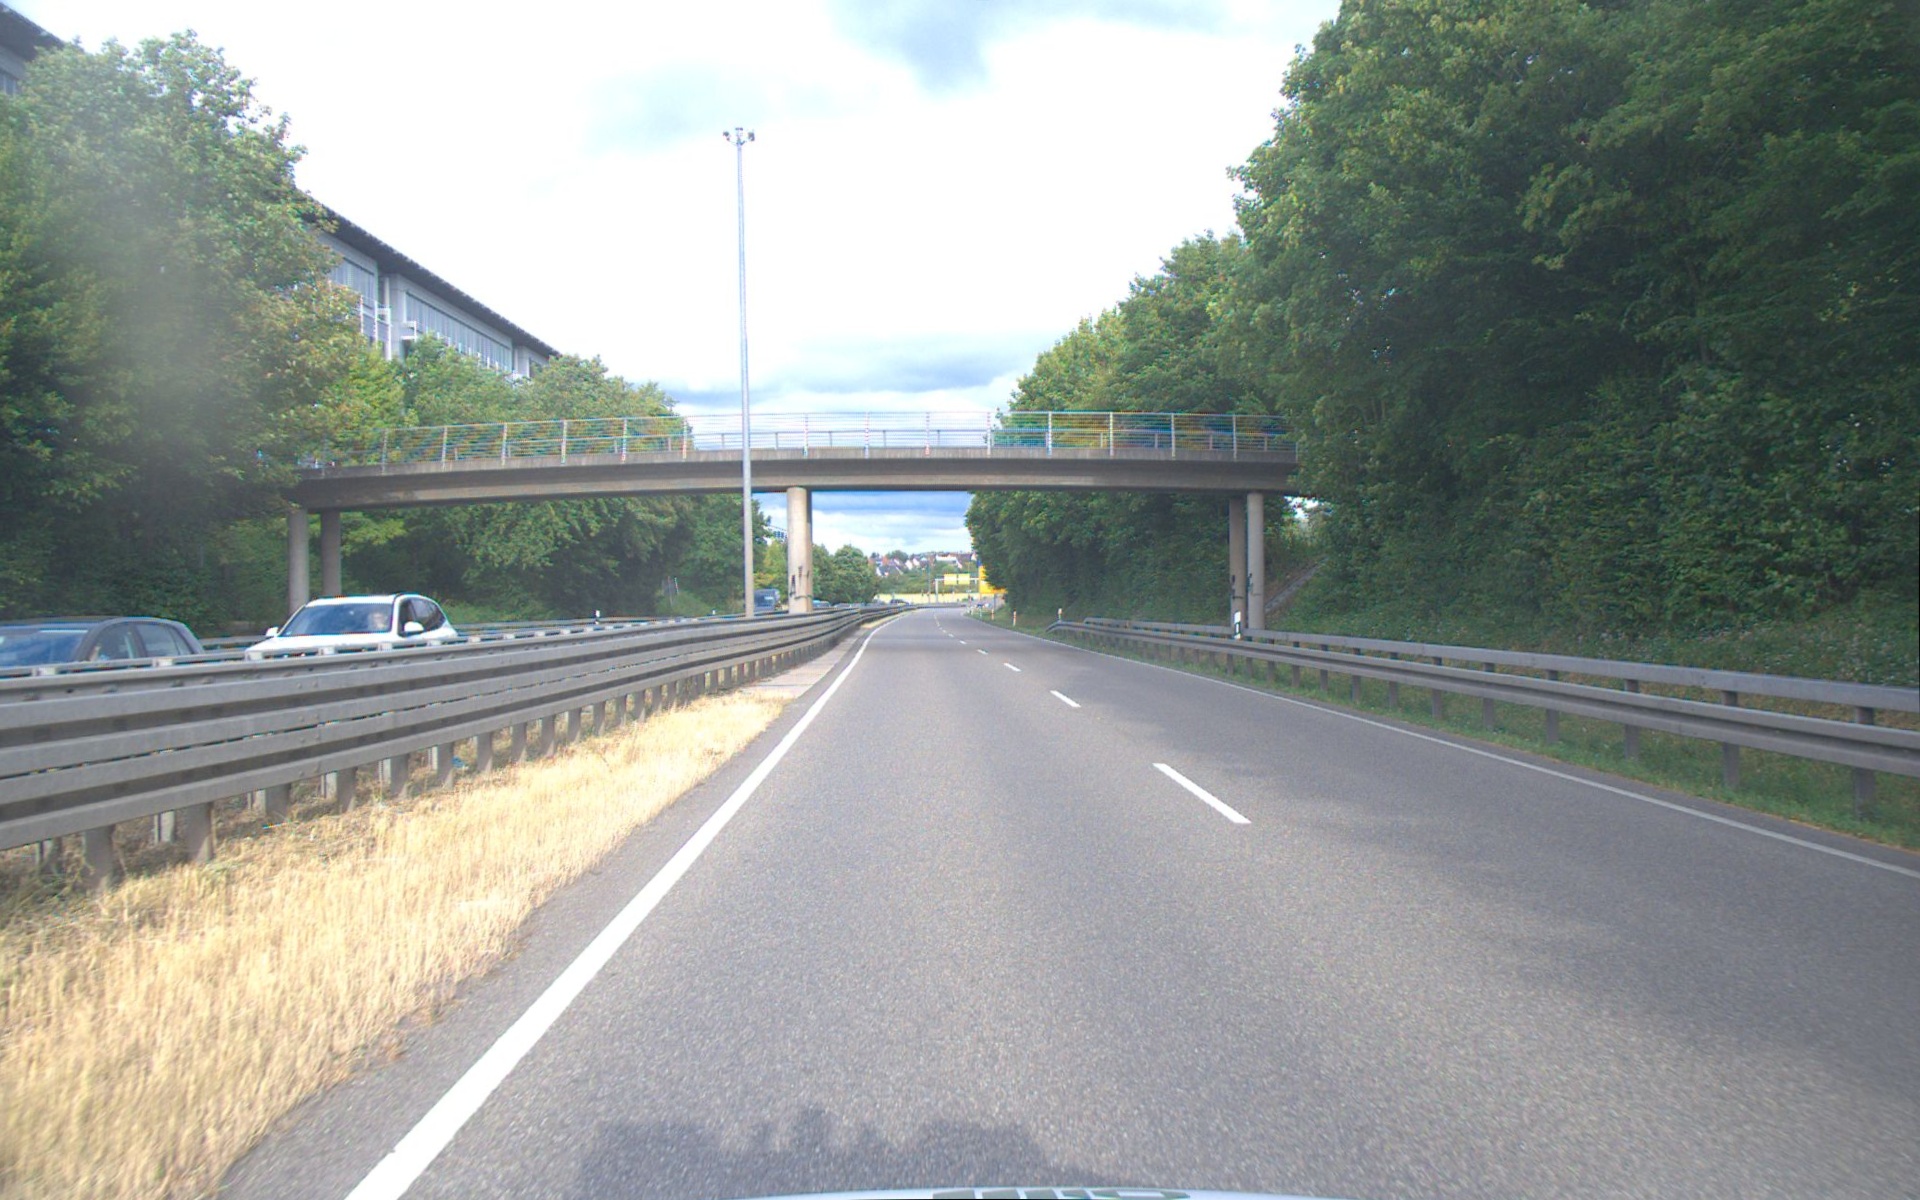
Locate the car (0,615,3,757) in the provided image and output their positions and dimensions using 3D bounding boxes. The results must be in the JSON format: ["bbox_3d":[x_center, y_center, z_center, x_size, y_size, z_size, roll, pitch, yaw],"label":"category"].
[{"bbox_3d":[-11.485,0.954,16.096,1.797,1.563,4.396,-1,0,0],"label":"car"}]

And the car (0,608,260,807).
[{"bbox_3d":[-7.767,0.846,14.540,1.683,1.493,3.733,-1,0,-1],"label":"car"}]

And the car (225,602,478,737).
[{"bbox_3d":[-8.180,0.853,22.747,1.786,1.612,4.789,-1,0,-1],"label":"car"}]
